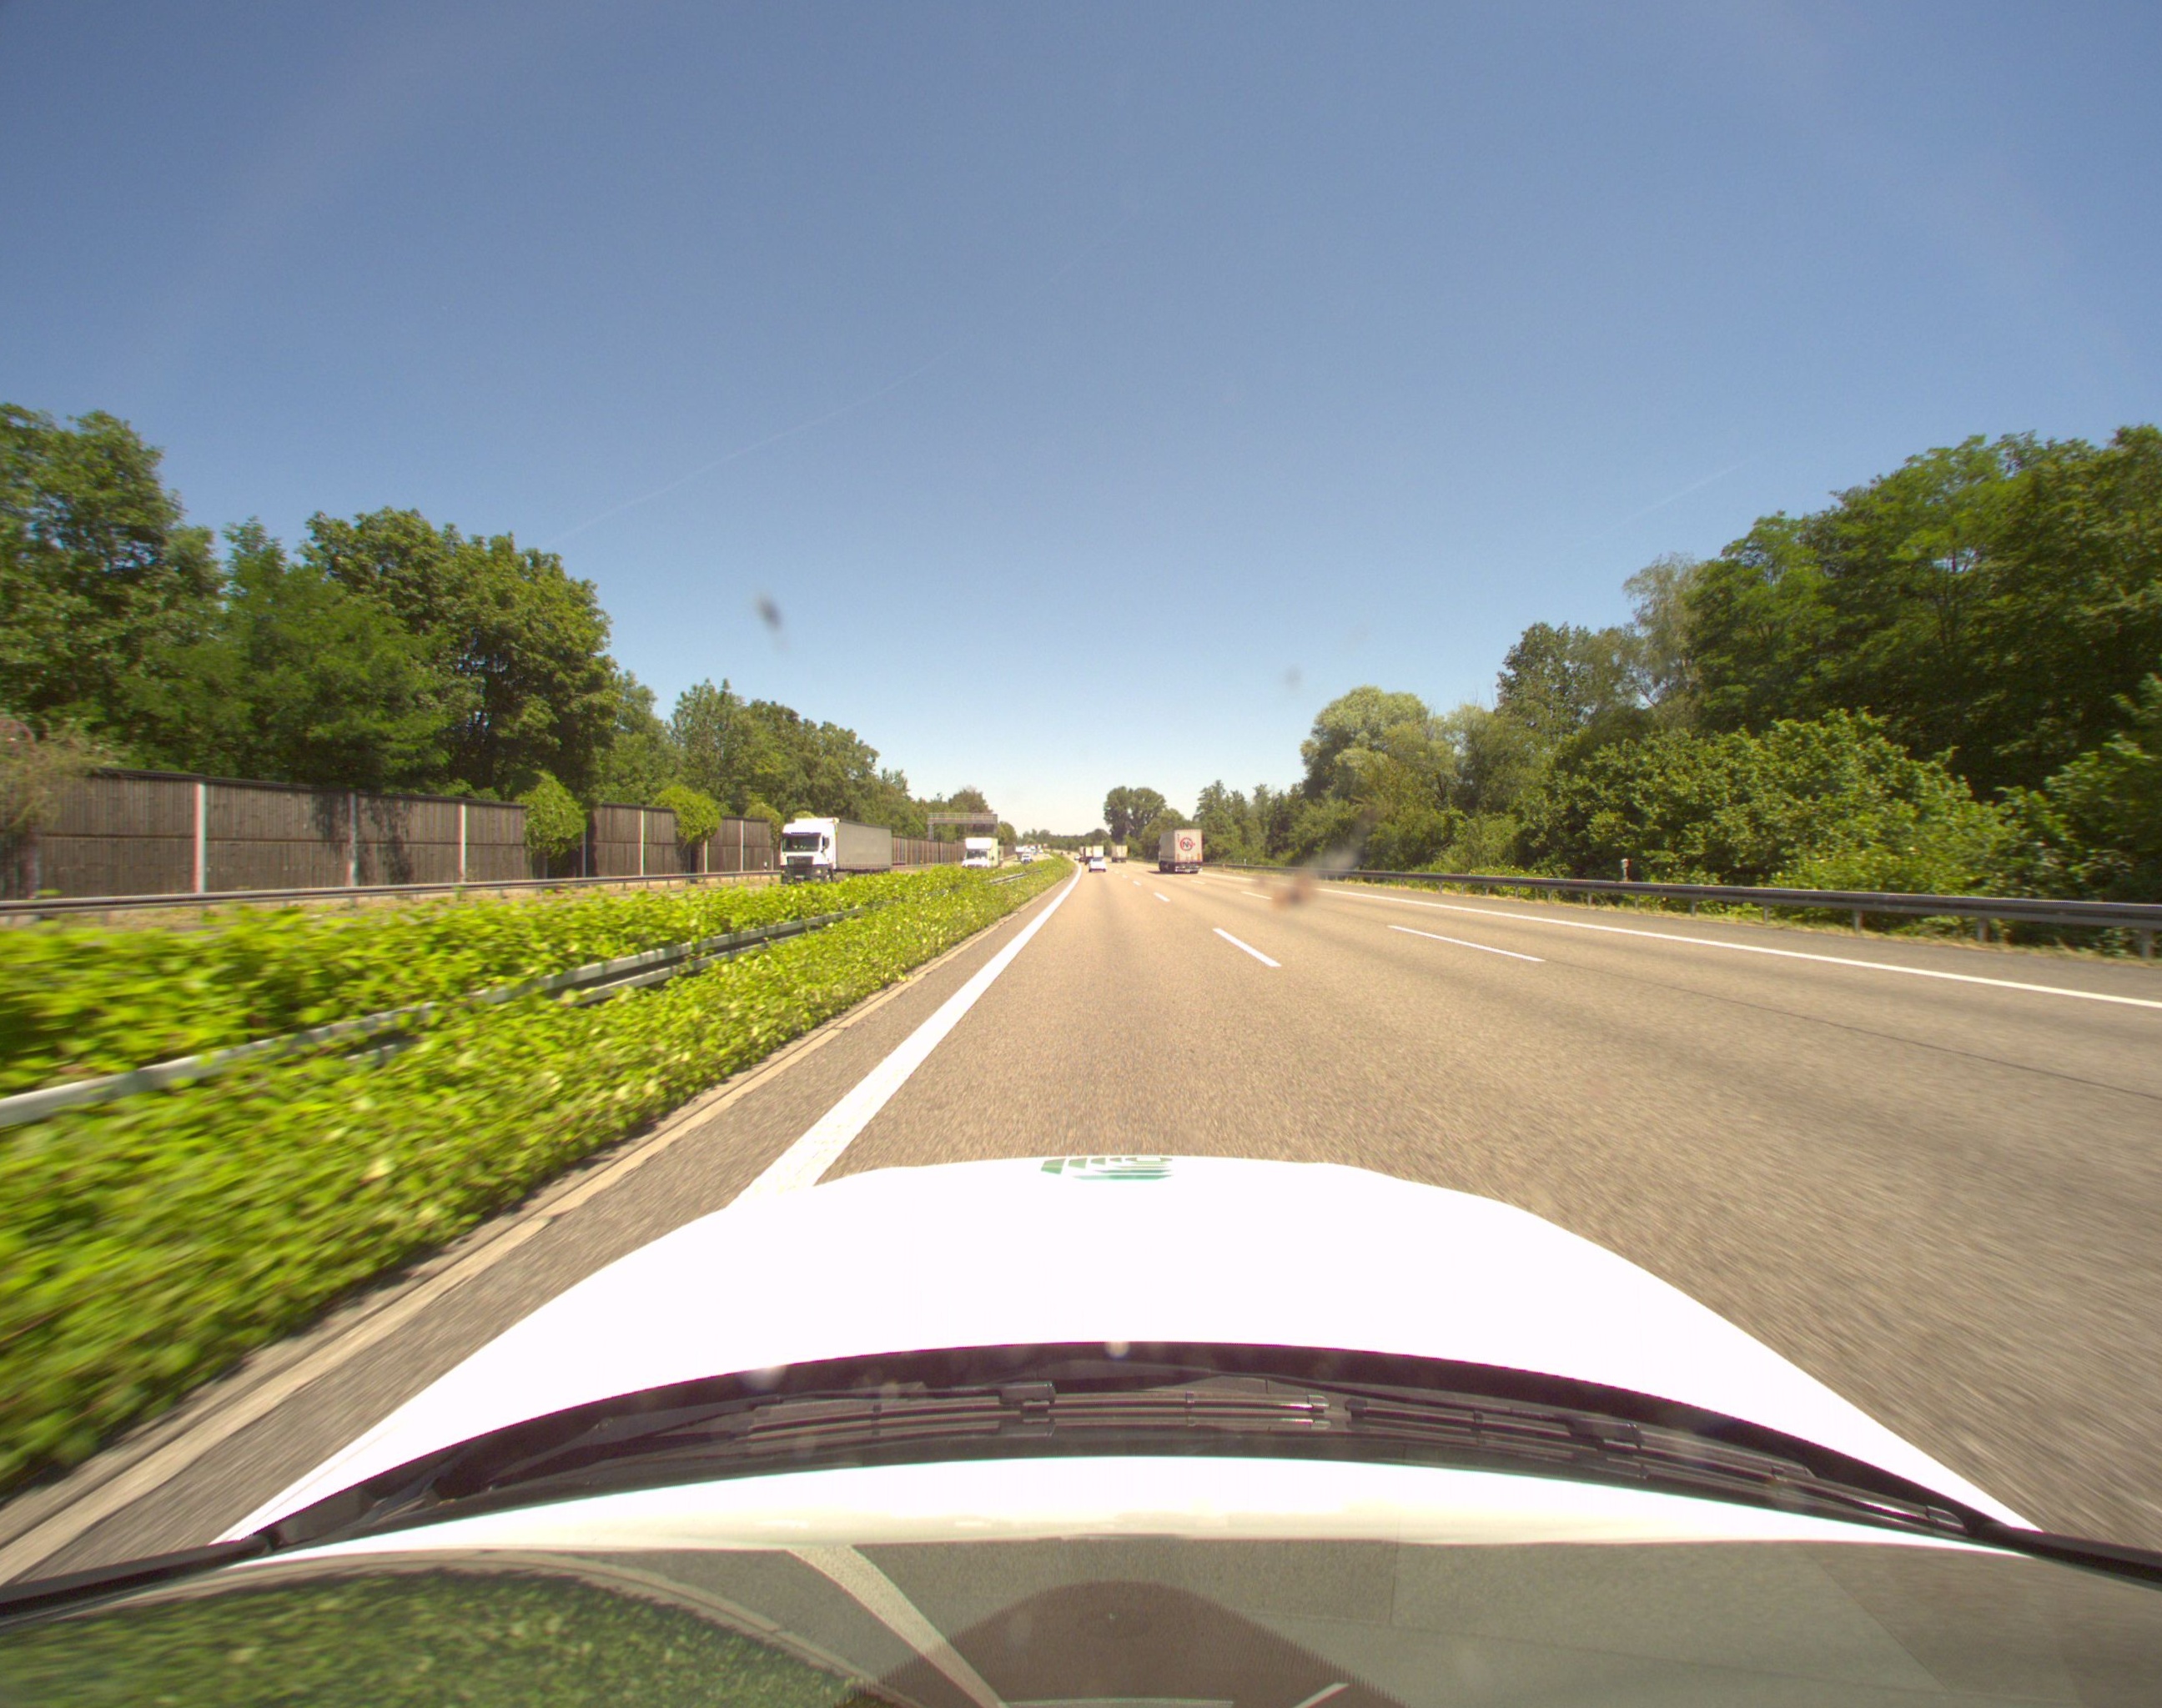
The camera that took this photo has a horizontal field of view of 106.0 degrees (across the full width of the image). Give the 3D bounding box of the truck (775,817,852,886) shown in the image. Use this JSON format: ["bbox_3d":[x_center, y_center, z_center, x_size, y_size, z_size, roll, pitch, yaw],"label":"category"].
[{"bbox_3d":[-15.928,-0.130,48.908,2.677,3.895,5.573,0,0,0],"label":"truck"}]

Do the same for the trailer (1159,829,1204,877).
[{"bbox_3d":[9.577,-0.076,79.132,2.615,4.261,14.058,0,0,0],"label":"trailer"}]

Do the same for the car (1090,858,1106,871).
[{"bbox_3d":[1.788,1.123,87.711,1.710,1.369,3.375,-1,0,0],"label":"car"}]

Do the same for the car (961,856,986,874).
[{"bbox_3d":[-11.010,1.111,83.575,1.861,1.820,4.817,-1,0,1],"label":"car"}]

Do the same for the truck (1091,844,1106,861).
[{"bbox_3d":[4.543,-0.436,209.951,3.351,4.311,10.820,0,0,-2],"label":"truck"}]

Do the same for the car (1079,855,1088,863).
[{"bbox_3d":[0.562,1.208,195.002,1.989,2.013,3.996,-1,0,-3],"label":"car"}]

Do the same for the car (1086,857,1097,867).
[{"bbox_3d":[1.959,1.433,153.705,1.988,1.772,3.998,-1,0,-1],"label":"car"}]

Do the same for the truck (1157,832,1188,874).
[{"bbox_3d":[9.582,-0.087,85.897,2.597,4.287,5.435,0,0,0],"label":"truck"}]

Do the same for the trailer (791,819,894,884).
[{"bbox_3d":[-15.824,-0.135,55.566,2.720,3.909,13.763,0,0,1],"label":"trailer"}]

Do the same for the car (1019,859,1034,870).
[{"bbox_3d":[-7.159,1.419,107.081,1.621,1.390,3.913,-1,0,0],"label":"car"}]

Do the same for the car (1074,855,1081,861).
[{"bbox_3d":[-1.042,1.277,247.705,1.719,1.783,3.996,-1,0,-3],"label":"car"}]

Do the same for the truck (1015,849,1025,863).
[{"bbox_3d":[-17.439,0.599,232.845,2.513,4.066,6.366,0,0,-2],"label":"truck"}]

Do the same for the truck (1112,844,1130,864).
[{"bbox_3d":[9.181,-0.006,188.621,3.482,4.311,10.984,0,0,-1],"label":"truck"}]

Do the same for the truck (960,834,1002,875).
[{"bbox_3d":[-8.022,0.013,66.441,2.186,3.114,8.535,0,0,1],"label":"truck"}]
